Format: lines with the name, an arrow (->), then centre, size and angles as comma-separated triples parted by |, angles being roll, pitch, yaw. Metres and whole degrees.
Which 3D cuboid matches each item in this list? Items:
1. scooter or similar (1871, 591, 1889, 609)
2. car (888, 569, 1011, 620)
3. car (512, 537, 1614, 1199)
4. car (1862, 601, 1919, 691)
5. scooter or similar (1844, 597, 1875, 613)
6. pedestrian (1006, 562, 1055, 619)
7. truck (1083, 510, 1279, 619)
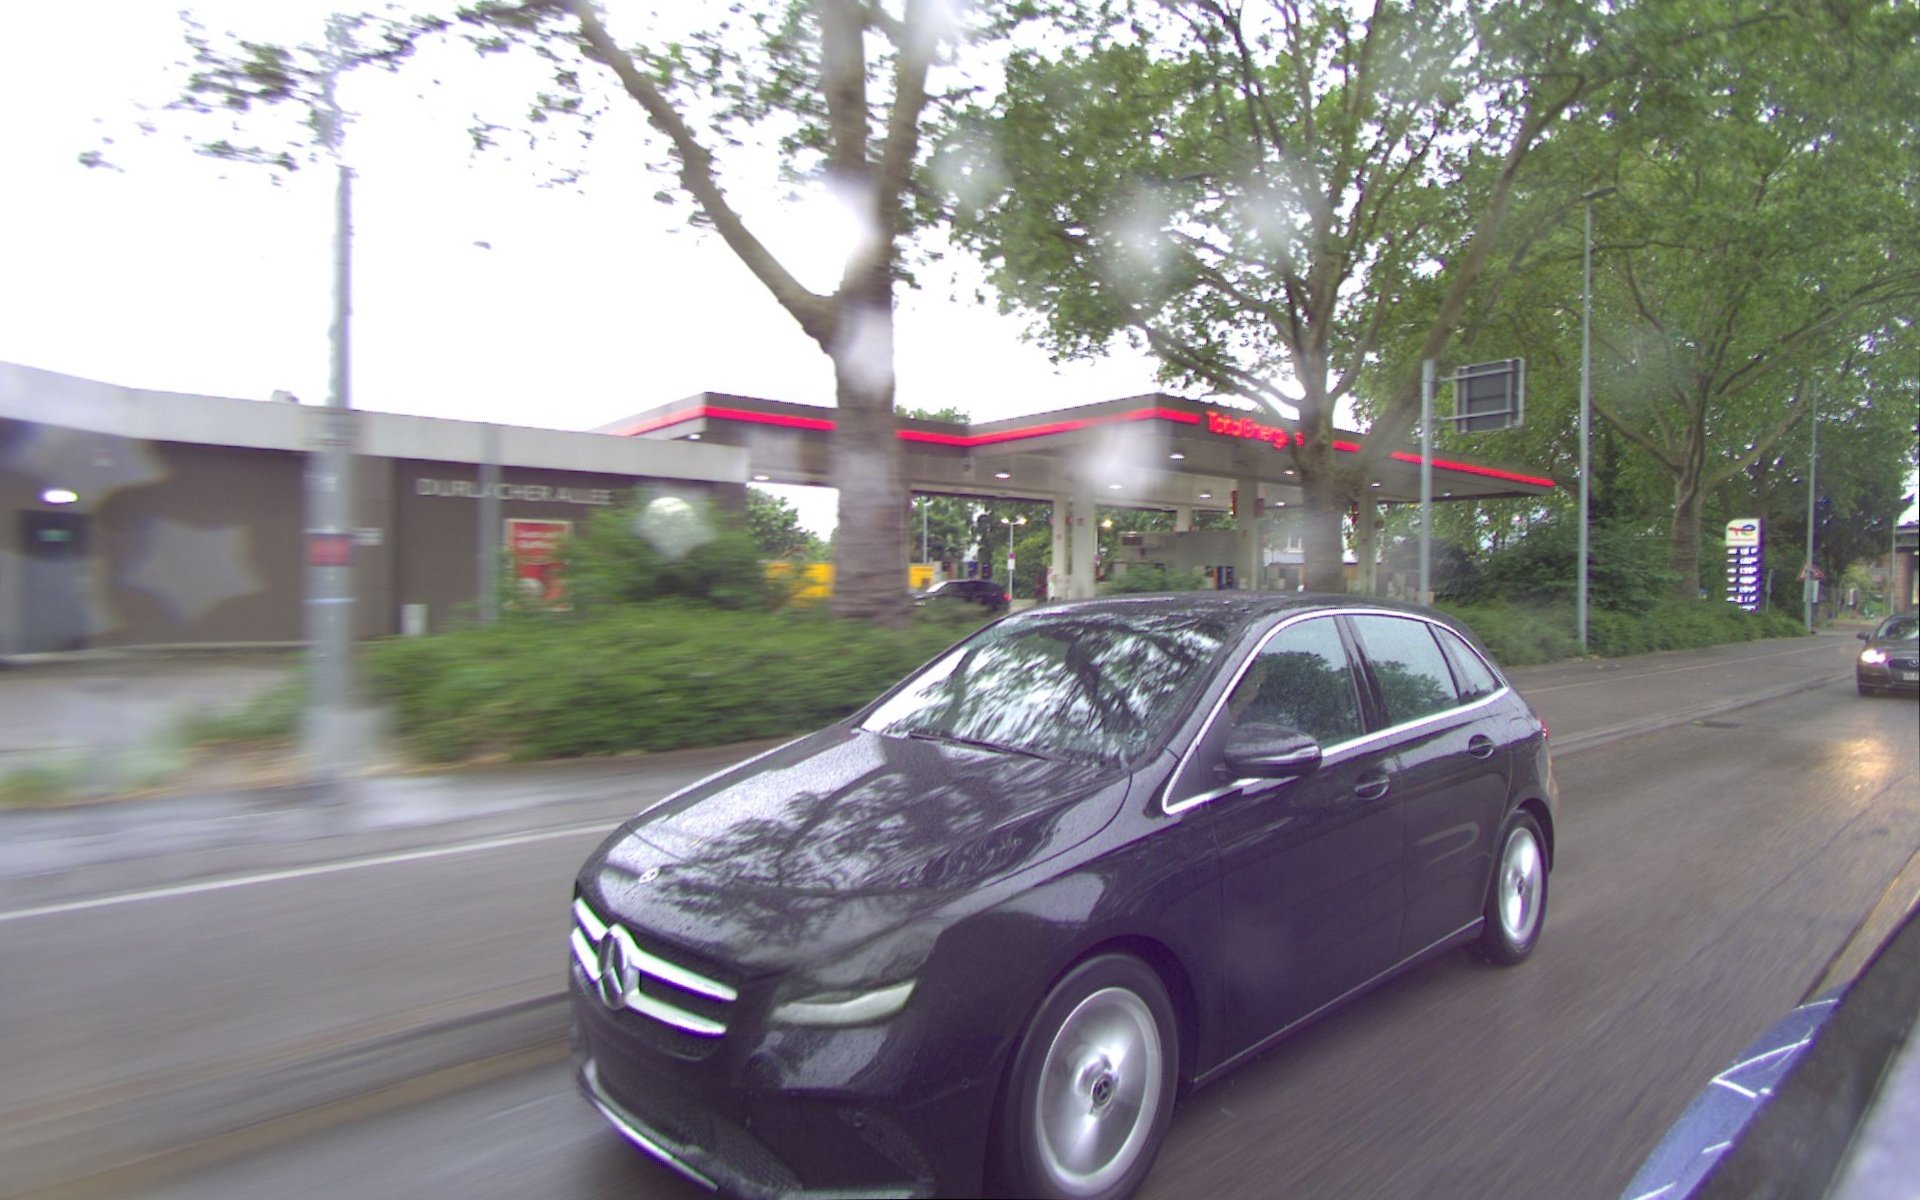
scooter or similar -> 60.957, 0.001, 67.023 | 1.792, 1.174, 0.454 | 0, -1, -34
car -> -0.318, -0.187, 33.826 | 3.812, 1.613, 1.832 | 0, 0, -41
car -> 0.852, 0.653, 3.868 | 4.349, 1.549, 1.818 | -1, 0, -44
car -> 16.831, 0.739, 17.189 | 3.713, 1.402, 1.641 | -1, 0, -39
scooter or similar -> 59.143, 0.326, 66.545 | 1.705, 1.022, 0.454 | 0, -1, -3
pedestrian -> 2.305, -0.309, 33.152 | 1.044, 1.815, 1.224 | 0, 1, -38
truck -> 7.780, -1.102, 34.926 | 7.638, 3.395, 2.697 | 0, -1, -43
